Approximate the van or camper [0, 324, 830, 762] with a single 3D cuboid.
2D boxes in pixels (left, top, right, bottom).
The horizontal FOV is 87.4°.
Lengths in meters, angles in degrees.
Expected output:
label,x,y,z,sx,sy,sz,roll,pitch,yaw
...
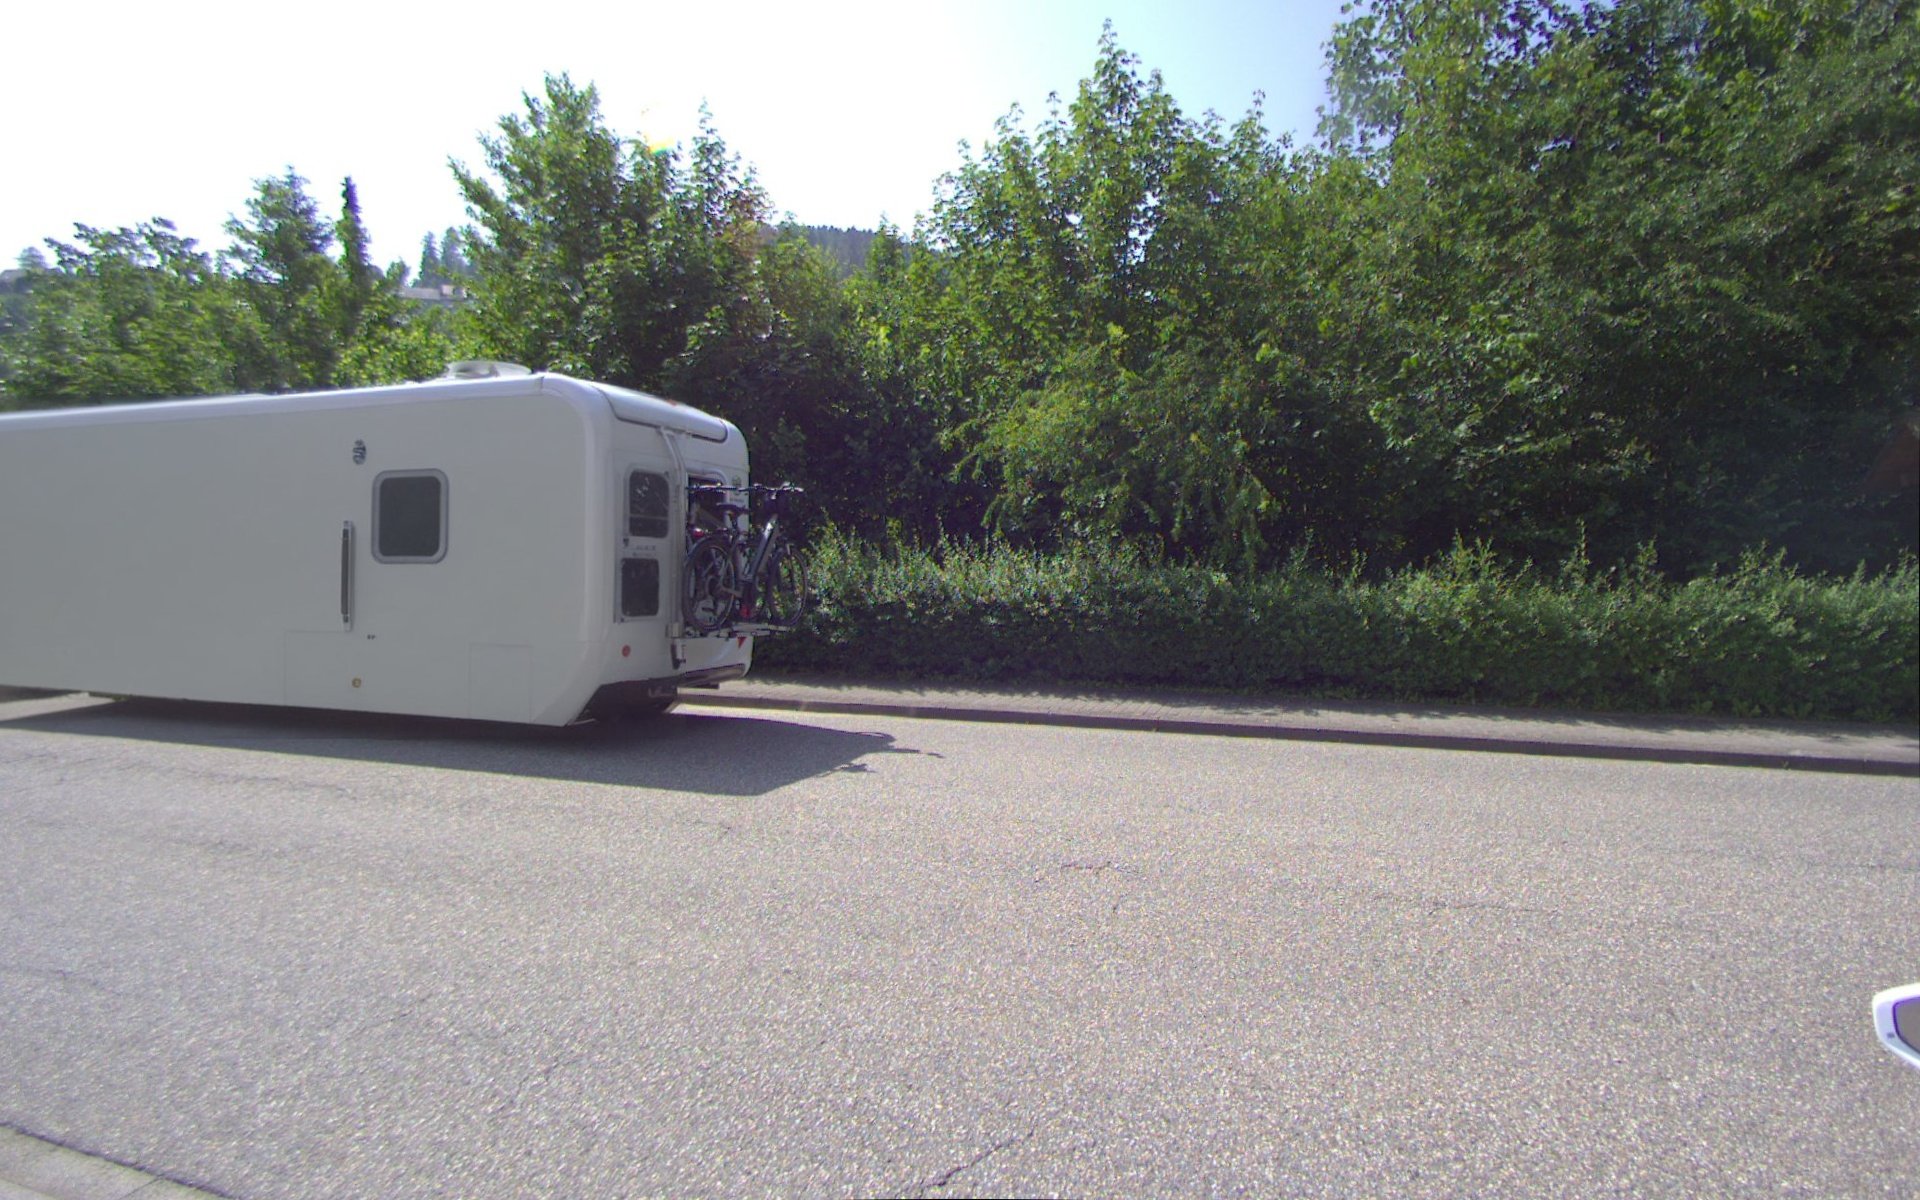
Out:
label,x,y,z,sx,sy,sz,roll,pitch,yaw
van or camper,-5.290,-0.452,9.317,7.892,2.993,2.365,1,2,20
